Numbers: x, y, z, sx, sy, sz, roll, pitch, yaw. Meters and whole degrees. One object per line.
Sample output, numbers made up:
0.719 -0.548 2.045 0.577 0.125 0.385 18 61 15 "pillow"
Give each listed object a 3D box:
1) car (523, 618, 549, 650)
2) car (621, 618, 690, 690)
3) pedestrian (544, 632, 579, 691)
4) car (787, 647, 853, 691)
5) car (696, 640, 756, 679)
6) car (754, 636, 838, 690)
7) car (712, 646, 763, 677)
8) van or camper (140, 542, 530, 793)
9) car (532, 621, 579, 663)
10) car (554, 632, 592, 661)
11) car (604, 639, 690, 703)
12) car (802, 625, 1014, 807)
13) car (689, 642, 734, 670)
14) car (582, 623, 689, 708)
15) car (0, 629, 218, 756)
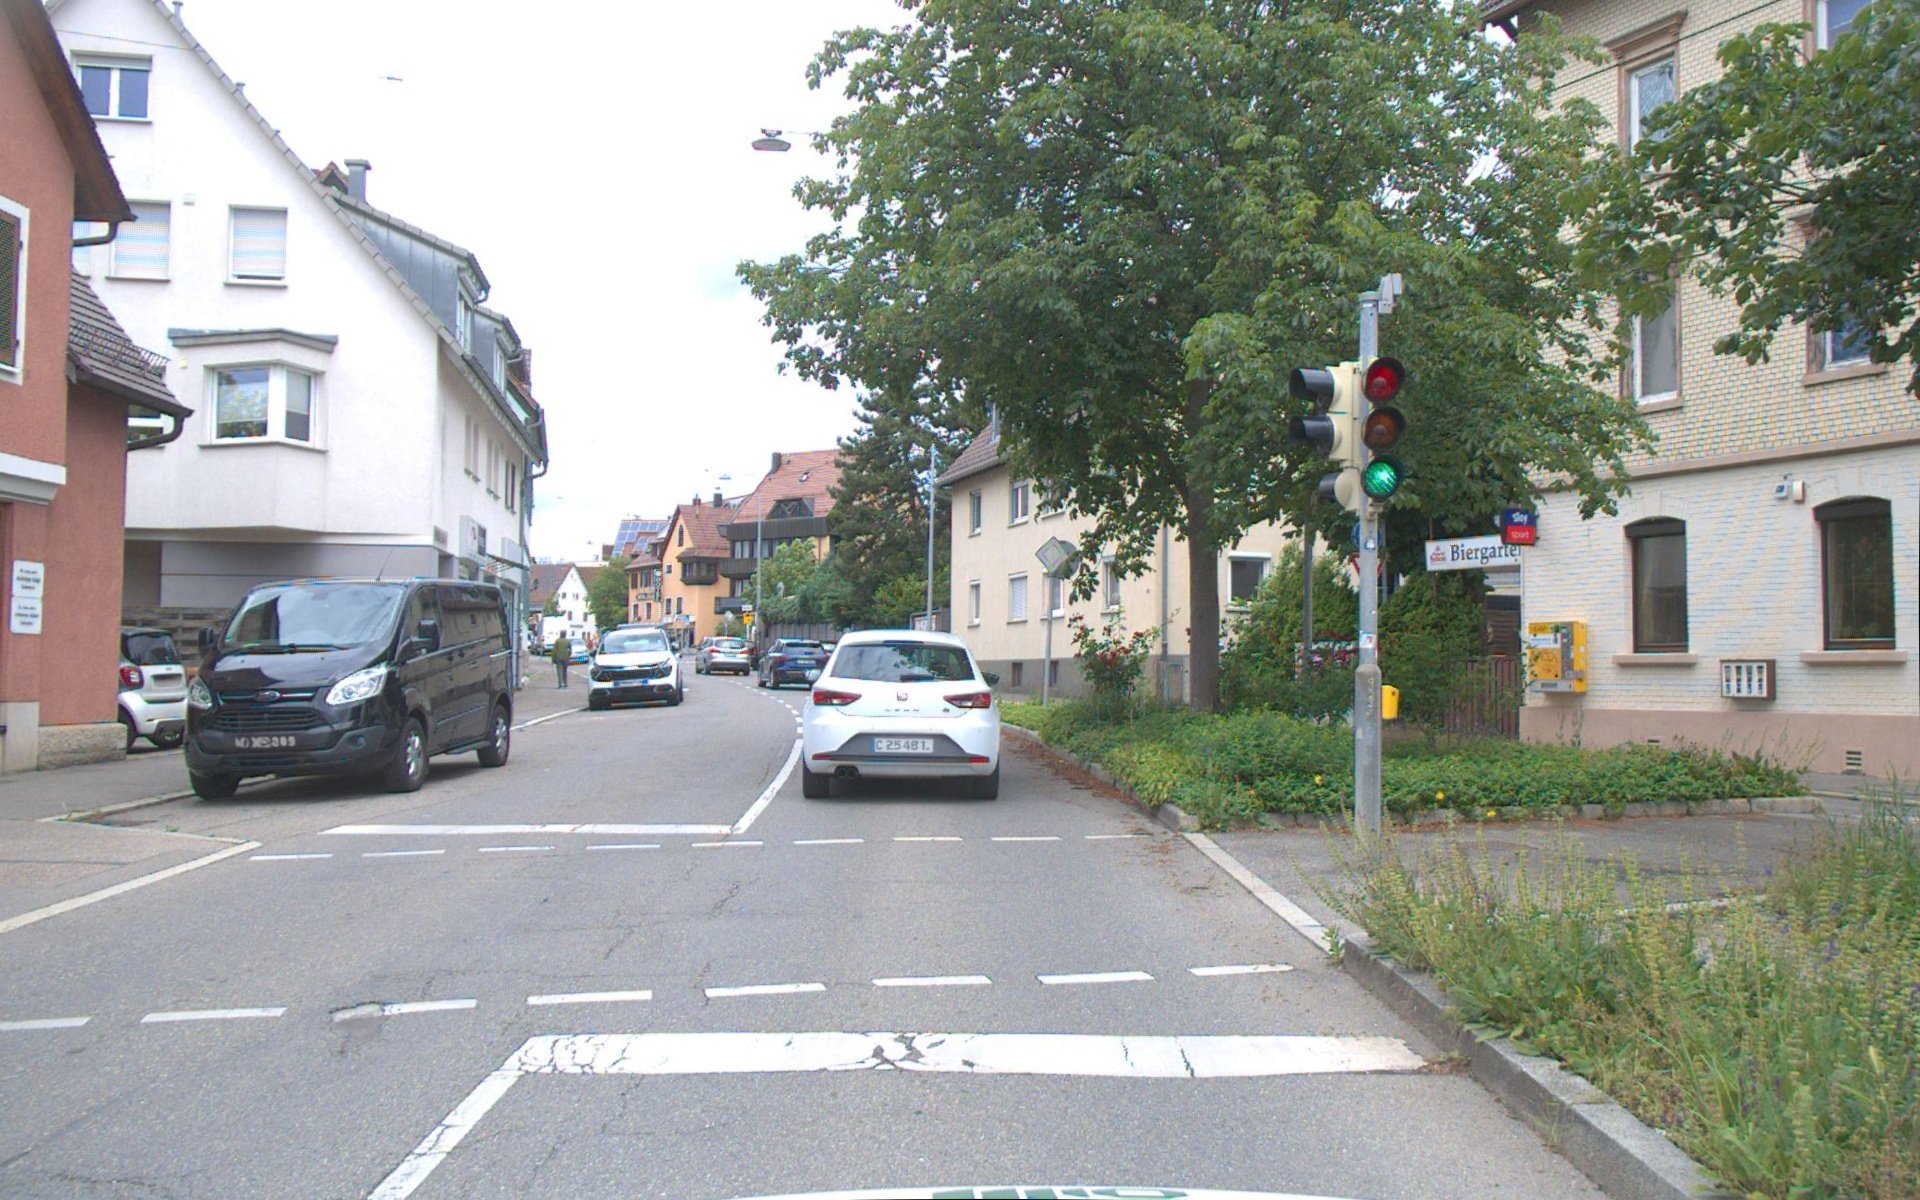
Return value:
-38.148 3.037 148.688 2.117 2.734 5.371 2 -2 -16 "car"
-9.340 1.646 51.045 1.957 2.049 4.659 -2 -1 -9 "car"
-10.735 1.661 44.544 0.791 1.526 0.973 3 -3 -11 "pedestrian"
-5.266 2.557 61.651 1.729 1.477 3.983 3 -3 -15 "car"
-9.166 2.310 64.459 1.730 1.477 3.981 1 -2 -17 "car"
-4.769 1.801 47.656 1.730 1.477 3.982 1 -2 -16 "car"
-10.861 2.987 80.606 1.732 1.477 3.977 1 -2 -19 "car"
-5.856 0.677 16.245 2.031 2.041 4.855 -2 -3 -1 "van or camper"
-27.832 2.896 113.935 2.110 2.734 5.539 2 -2 -4 "car"
-21.155 2.528 90.325 1.770 1.505 4.031 -2 -1 -17 "car"
-7.730 1.729 41.015 1.961 1.461 3.908 2 -2 -10 "car"
-0.559 1.020 15.546 1.724 1.477 3.996 1 -2 -4 "car"
-13.706 3.089 91.144 1.732 1.477 3.977 1 -2 -19 "car"
-6.944 1.397 35.794 1.960 1.662 4.848 2 -2 -8 "car"
-11.040 1.126 20.571 2.771 1.501 1.743 0 -2 2 "car"
